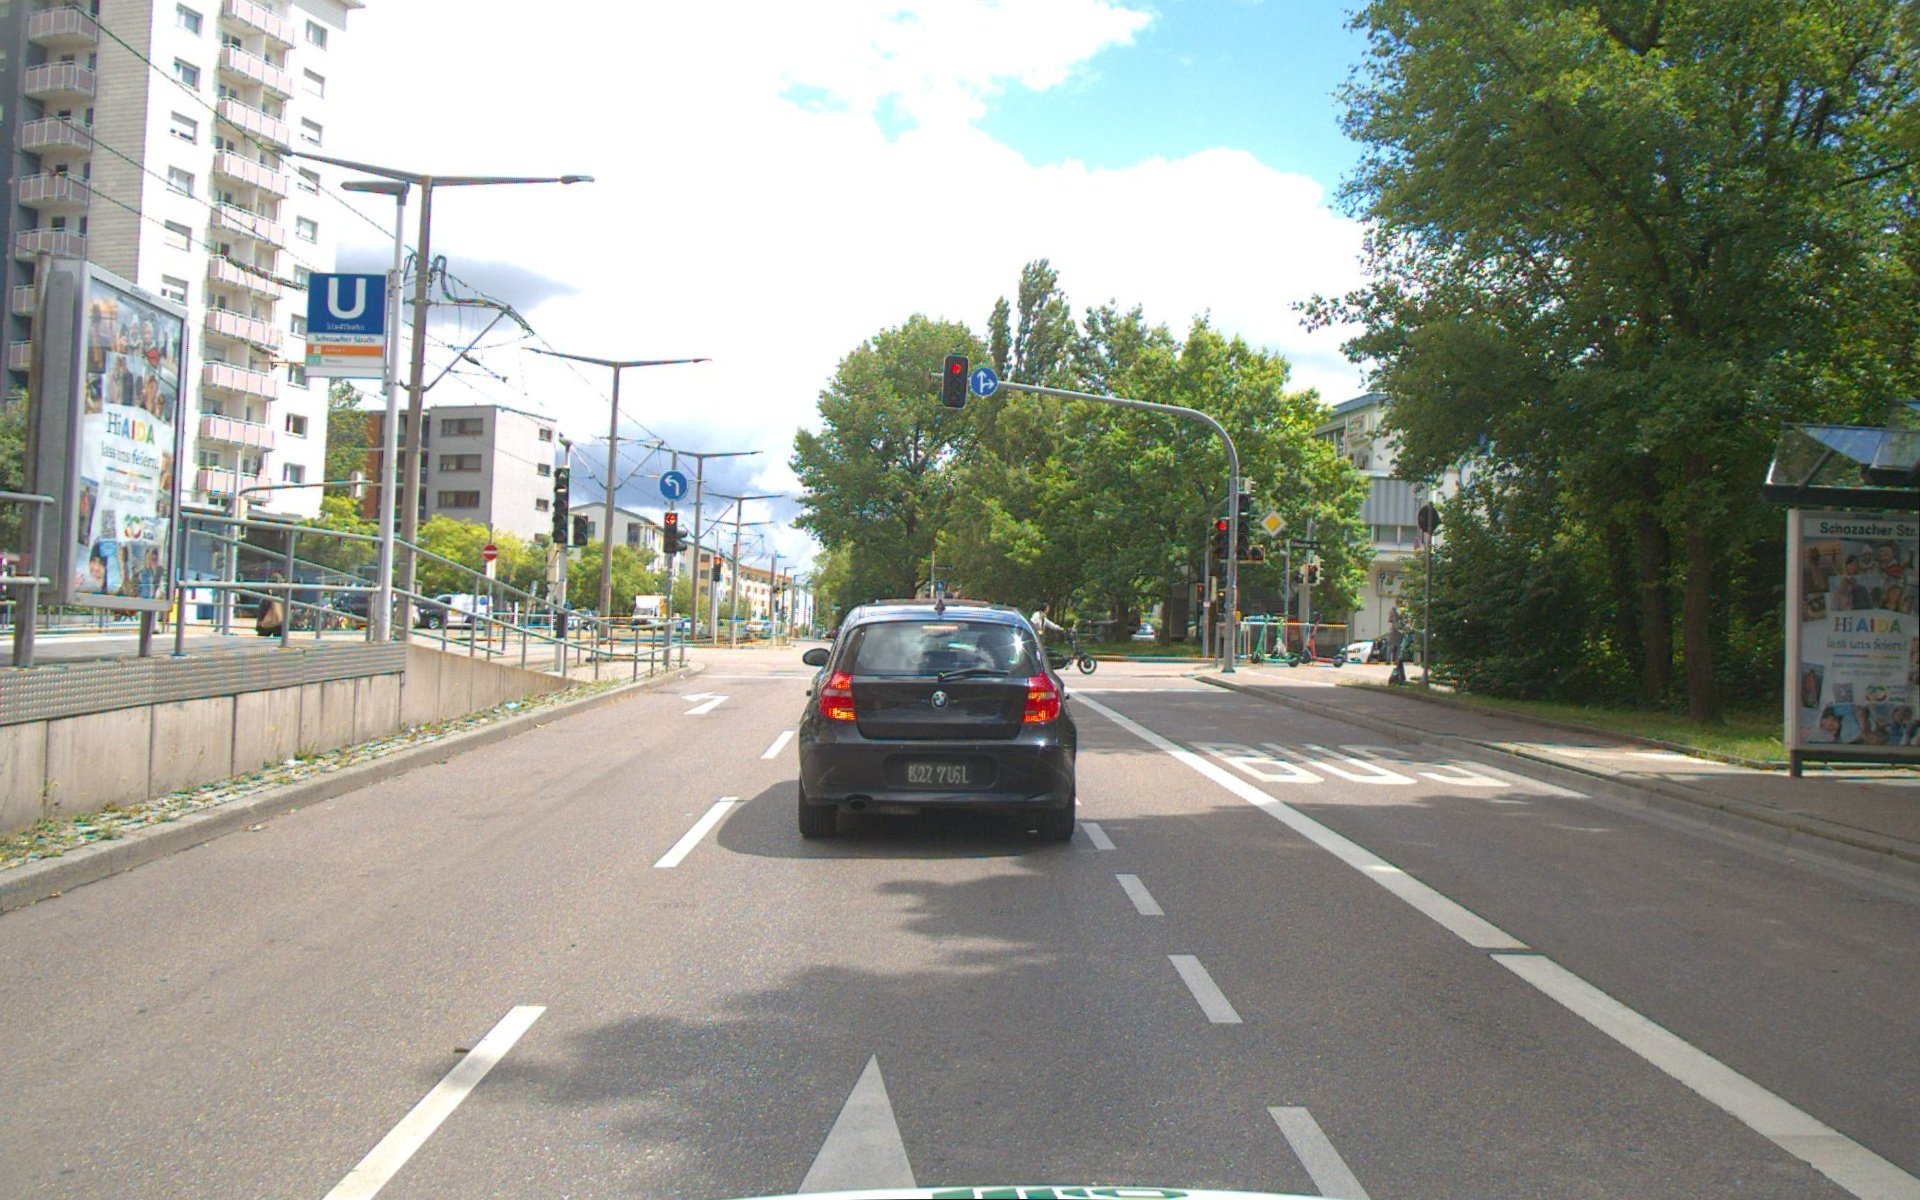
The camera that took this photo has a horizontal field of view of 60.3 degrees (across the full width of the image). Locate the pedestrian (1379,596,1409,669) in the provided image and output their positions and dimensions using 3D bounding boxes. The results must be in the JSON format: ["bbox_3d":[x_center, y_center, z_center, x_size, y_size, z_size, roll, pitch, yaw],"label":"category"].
[{"bbox_3d":[11.260,0.837,42.857,0.600,1.821,0.569,4,0,17],"label":"pedestrian"}]

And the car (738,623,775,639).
[{"bbox_3d":[-21.578,3.309,175.485,1.929,1.624,3.993,1,0,29],"label":"car"}]

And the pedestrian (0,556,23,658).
[{"bbox_3d":[-16.686,0.119,28.491,0.812,1.736,0.677,1,0,-22],"label":"pedestrian"}]

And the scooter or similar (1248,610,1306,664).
[{"bbox_3d":[7.280,0.849,37.963,1.267,1.210,0.383,1,0,-17],"label":"scooter or similar"}]

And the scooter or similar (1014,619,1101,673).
[{"bbox_3d":[2.011,0.945,34.149,1.747,1.069,0.410,1,0,-8],"label":"scooter or similar"}]

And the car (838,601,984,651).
[{"bbox_3d":[-1.621,0.851,53.700,4.491,1.553,1.939,1,0,-12],"label":"car"}]

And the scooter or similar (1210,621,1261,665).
[{"bbox_3d":[6.143,0.959,36.842,1.102,0.974,0.299,1,0,-17],"label":"scooter or similar"}]

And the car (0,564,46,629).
[{"bbox_3d":[-31.468,-0.084,52.928,3.663,2.049,1.799,-2,1,-25],"label":"car"}]

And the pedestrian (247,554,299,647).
[{"bbox_3d":[-12.439,0.011,29.967,0.687,1.661,0.637,0,0,-3],"label":"pedestrian"}]

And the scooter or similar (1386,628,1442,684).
[{"bbox_3d":[9.245,1.145,33.679,1.133,1.118,0.329,1,0,-25],"label":"scooter or similar"}]

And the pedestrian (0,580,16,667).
[{"bbox_3d":[-15.289,0.359,26.057,0.680,1.366,0.851,1,0,-31],"label":"pedestrian"}]

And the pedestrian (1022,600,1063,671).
[{"bbox_3d":[1.731,0.730,34.629,0.847,1.468,0.799,1,0,3],"label":"pedestrian"}]

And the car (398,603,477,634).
[{"bbox_3d":[-26.122,0.937,82.805,3.537,1.488,1.613,1,0,-9],"label":"car"}]

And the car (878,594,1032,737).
[{"bbox_3d":[-0.057,0.672,18.712,1.562,1.443,3.516,1,0,0],"label":"car"}]

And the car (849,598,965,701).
[{"bbox_3d":[-0.825,0.703,25.305,1.621,1.443,3.515,1,0,-3],"label":"car"}]

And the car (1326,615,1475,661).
[{"bbox_3d":[15.121,1.292,56.893,4.551,1.506,1.997,1,0,-8],"label":"car"}]

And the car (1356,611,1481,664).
[{"bbox_3d":[14.789,1.198,53.411,3.515,1.629,1.706,1,-1,-13],"label":"car"}]

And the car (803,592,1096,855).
[{"bbox_3d":[-0.032,0.690,11.018,1.620,1.443,3.517,1,0,1],"label":"car"}]

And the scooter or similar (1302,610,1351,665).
[{"bbox_3d":[8.599,0.872,38.823,1.087,1.280,0.331,1,0,-13],"label":"scooter or similar"}]

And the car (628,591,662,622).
[{"bbox_3d":[-27.943,0.568,146.923,2.096,2.686,5.356,1,0,-2],"label":"car"}]
